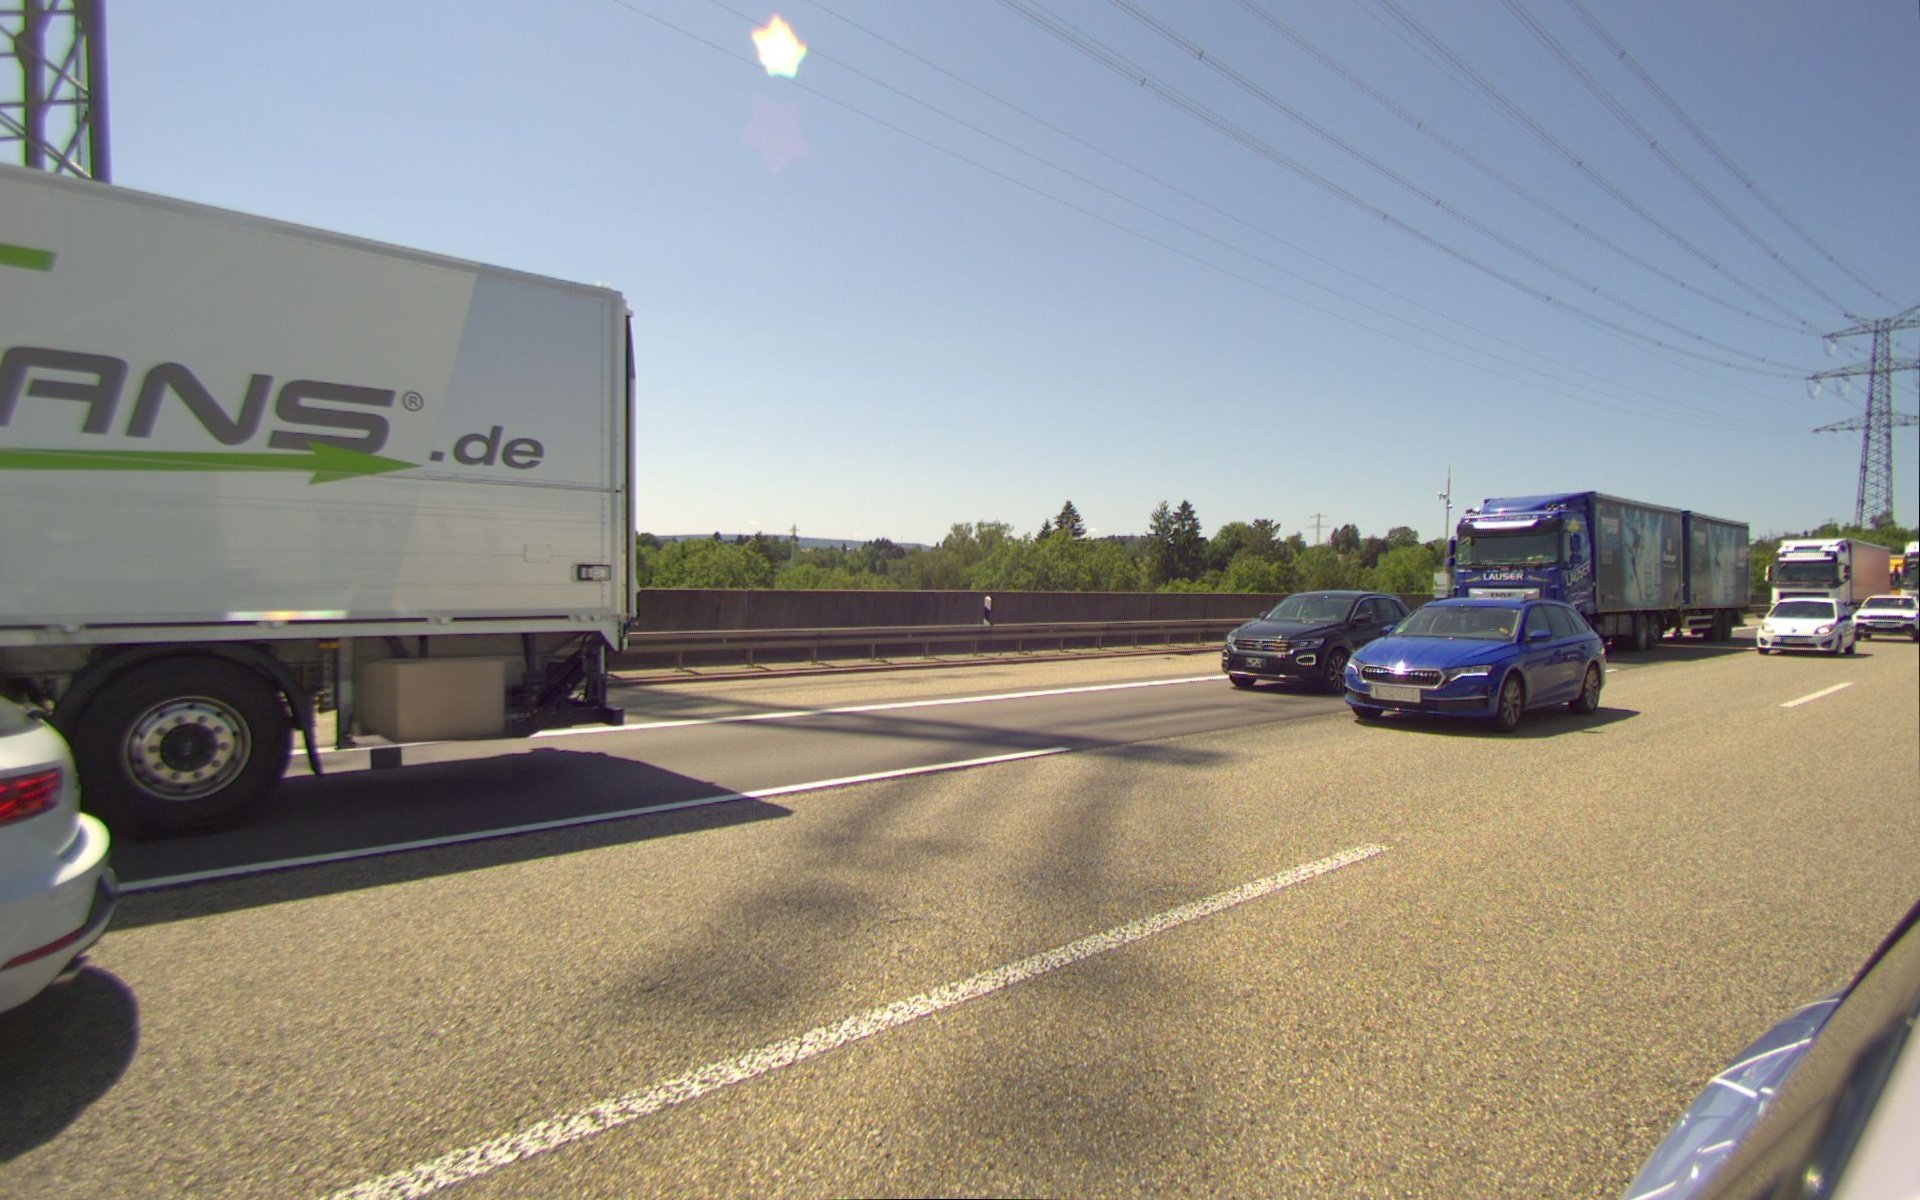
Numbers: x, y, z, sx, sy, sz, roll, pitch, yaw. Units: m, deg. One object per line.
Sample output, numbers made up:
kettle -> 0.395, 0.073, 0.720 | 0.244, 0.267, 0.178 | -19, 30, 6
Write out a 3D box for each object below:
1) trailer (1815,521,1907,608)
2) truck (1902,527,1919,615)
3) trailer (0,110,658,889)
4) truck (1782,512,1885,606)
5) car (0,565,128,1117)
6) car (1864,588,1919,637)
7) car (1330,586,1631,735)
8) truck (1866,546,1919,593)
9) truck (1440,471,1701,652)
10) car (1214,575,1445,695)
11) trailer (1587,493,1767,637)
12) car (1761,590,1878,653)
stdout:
trailer -> 47.081, -1.774, 52.774 | 8.929, 4.169, 2.605 | -1, 0, -42
truck -> 46.169, -1.354, 46.782 | 8.118, 3.874, 2.848 | -1, 0, -40
trailer -> -6.198, -0.507, 5.862 | 8.073, 3.940, 2.903 | -1, 0, -42
truck -> 40.734, -1.810, 47.099 | 8.123, 4.037, 2.605 | -1, 0, -42
car -> -4.544, 0.642, 2.059 | 4.352, 1.470, 1.711 | 0, 0, -42
car -> 31.645, 0.379, 33.760 | 4.072, 1.528, 1.711 | -1, 1, -41
car -> 6.473, 0.590, 12.356 | 4.483, 1.470, 1.711 | -1, 1, -41
truck -> 63.333, -2.064, 68.548 | 6.139, 3.018, 2.249 | -1, 4, -43
truck -> 16.428, -0.930, 26.753 | 10.212, 3.999, 2.857 | -1, 0, -41
car -> 5.986, 0.459, 16.186 | 4.046, 1.675, 1.711 | -1, 1, -41
trailer -> 23.472, -1.072, 32.919 | 8.487, 4.140, 2.833 | -1, 0, -41
car -> 22.272, 0.498, 26.177 | 4.072, 1.470, 1.711 | -1, 1, -41
